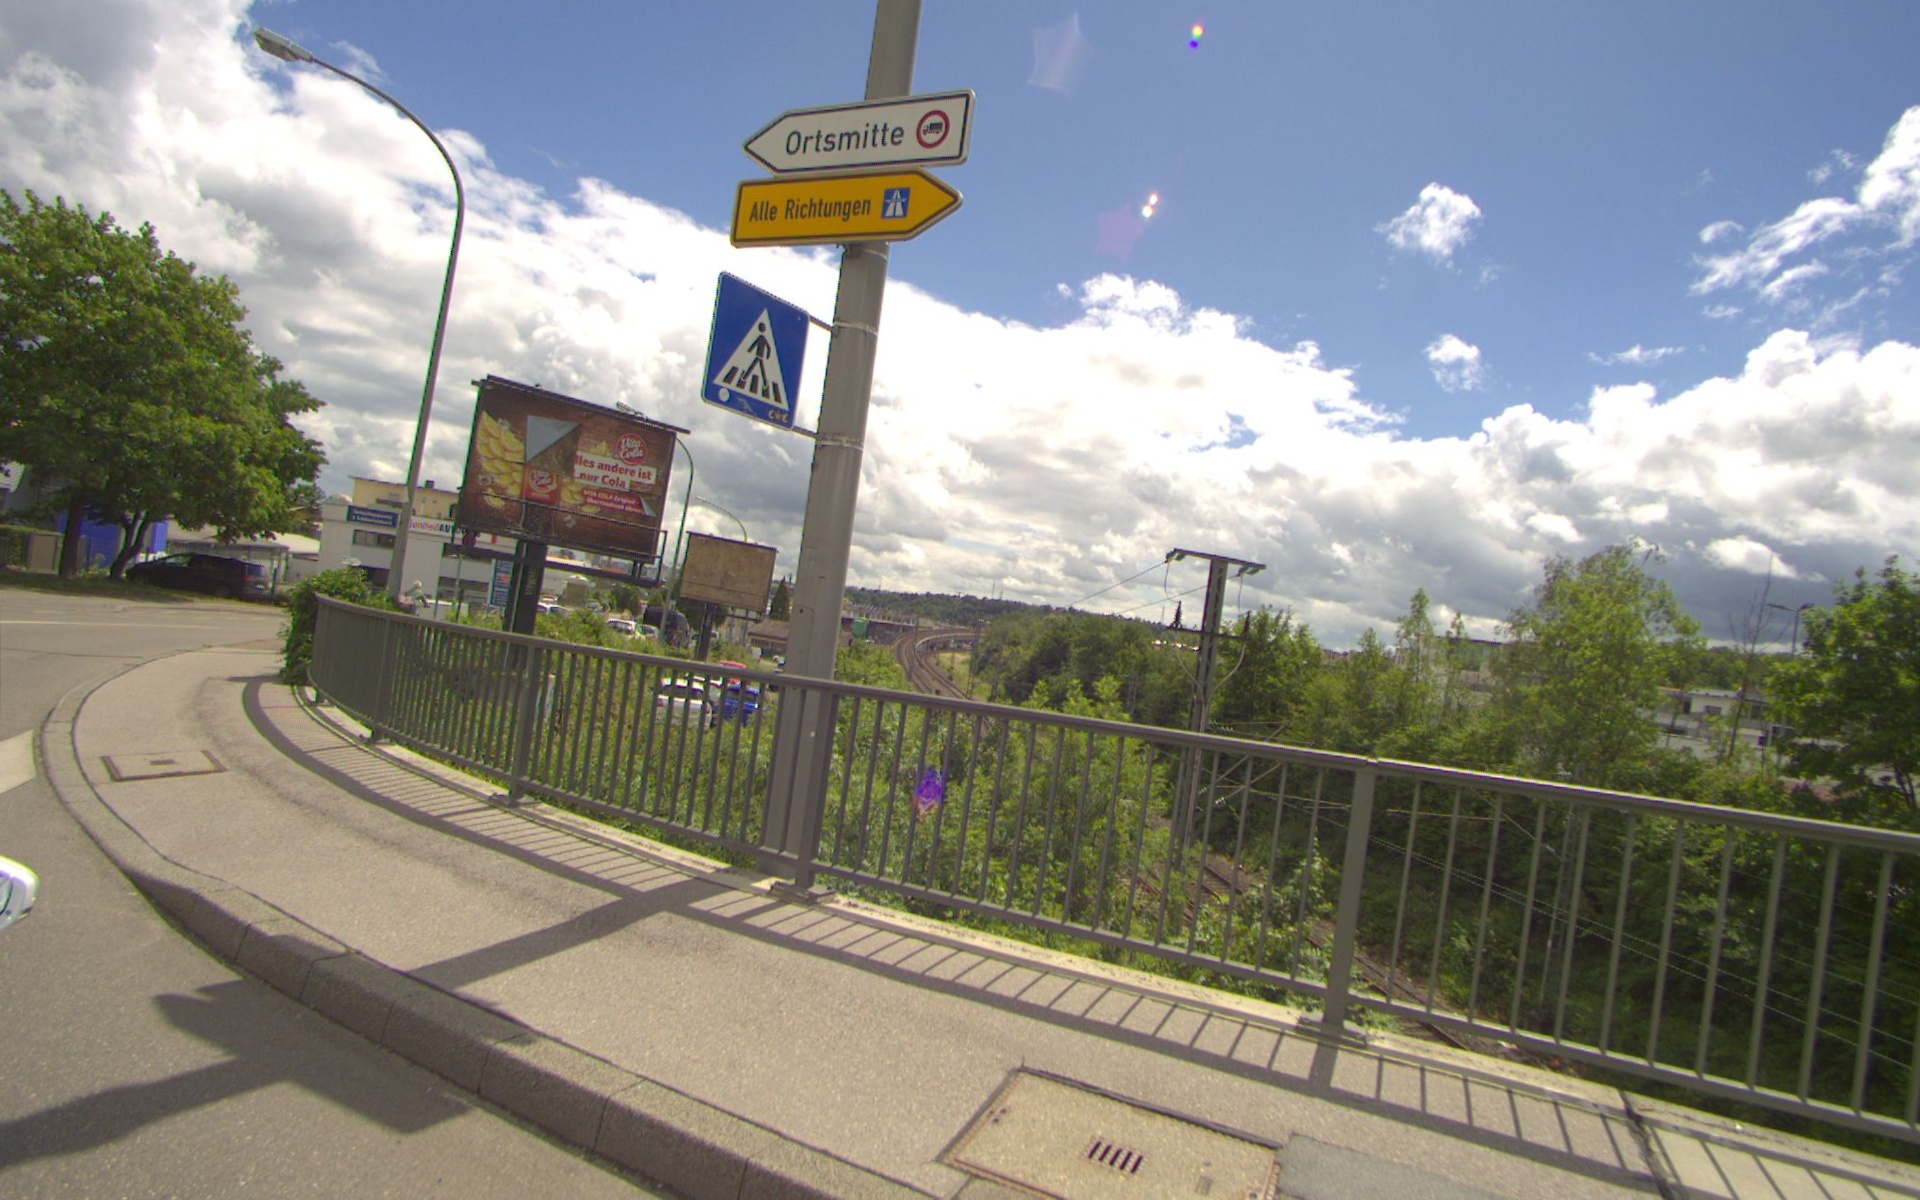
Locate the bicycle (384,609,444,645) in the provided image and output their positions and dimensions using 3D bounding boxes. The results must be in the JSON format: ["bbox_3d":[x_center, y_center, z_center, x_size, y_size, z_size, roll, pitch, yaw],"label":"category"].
[{"bbox_3d":[-15.602,0.790,28.800,0.677,0.887,2.103,5,-4,-6],"label":"bicycle"}]

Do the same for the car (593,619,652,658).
[{"bbox_3d":[-15.533,1.813,46.519,1.682,1.495,3.959,8,-4,-7],"label":"car"}]

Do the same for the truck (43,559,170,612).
[{"bbox_3d":[-55.914,-0.924,66.069,5.715,2.736,2.172,6,-4,-19],"label":"truck"}]

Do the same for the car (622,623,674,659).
[{"bbox_3d":[-15.982,2.140,51.659,1.681,1.526,3.698,8,-4,-6],"label":"car"}]

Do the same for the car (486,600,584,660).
[{"bbox_3d":[-14.311,1.092,34.134,1.681,1.695,4.310,8,-4,-6],"label":"car"}]

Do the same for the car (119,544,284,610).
[{"bbox_3d":[-30.048,-0.876,39.987,4.633,1.733,2.002,8,-5,-7],"label":"car"}]

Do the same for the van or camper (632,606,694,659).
[{"bbox_3d":[-16.939,1.940,57.704,2.094,2.612,5.921,6,-4,-6],"label":"van or camper"}]

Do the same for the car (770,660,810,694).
[{"bbox_3d":[-9.092,4.124,54.053,1.681,1.526,4.531,8,-4,-6],"label":"car"}]

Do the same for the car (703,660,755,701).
[{"bbox_3d":[-10.339,3.580,45.250,1.681,1.526,3.698,8,-4,-6],"label":"car"}]

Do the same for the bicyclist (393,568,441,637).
[{"bbox_3d":[-15.530,0.094,28.802,0.674,1.846,1.081,5,-3,-6],"label":"bicyclist"}]

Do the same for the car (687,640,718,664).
[{"bbox_3d":[-18.346,3.744,71.731,1.768,1.522,2.907,5,-4,-9],"label":"car"}]

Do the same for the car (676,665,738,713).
[{"bbox_3d":[-9.642,3.375,38.566,1.681,1.526,3.510,8,-4,-6],"label":"car"}]

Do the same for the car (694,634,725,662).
[{"bbox_3d":[-21.635,4.195,87.110,1.966,2.034,4.919,7,-5,-9],"label":"car"}]

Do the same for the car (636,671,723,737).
[{"bbox_3d":[-8.016,2.949,29.009,1.681,1.526,3.510,8,-4,-6],"label":"car"}]
